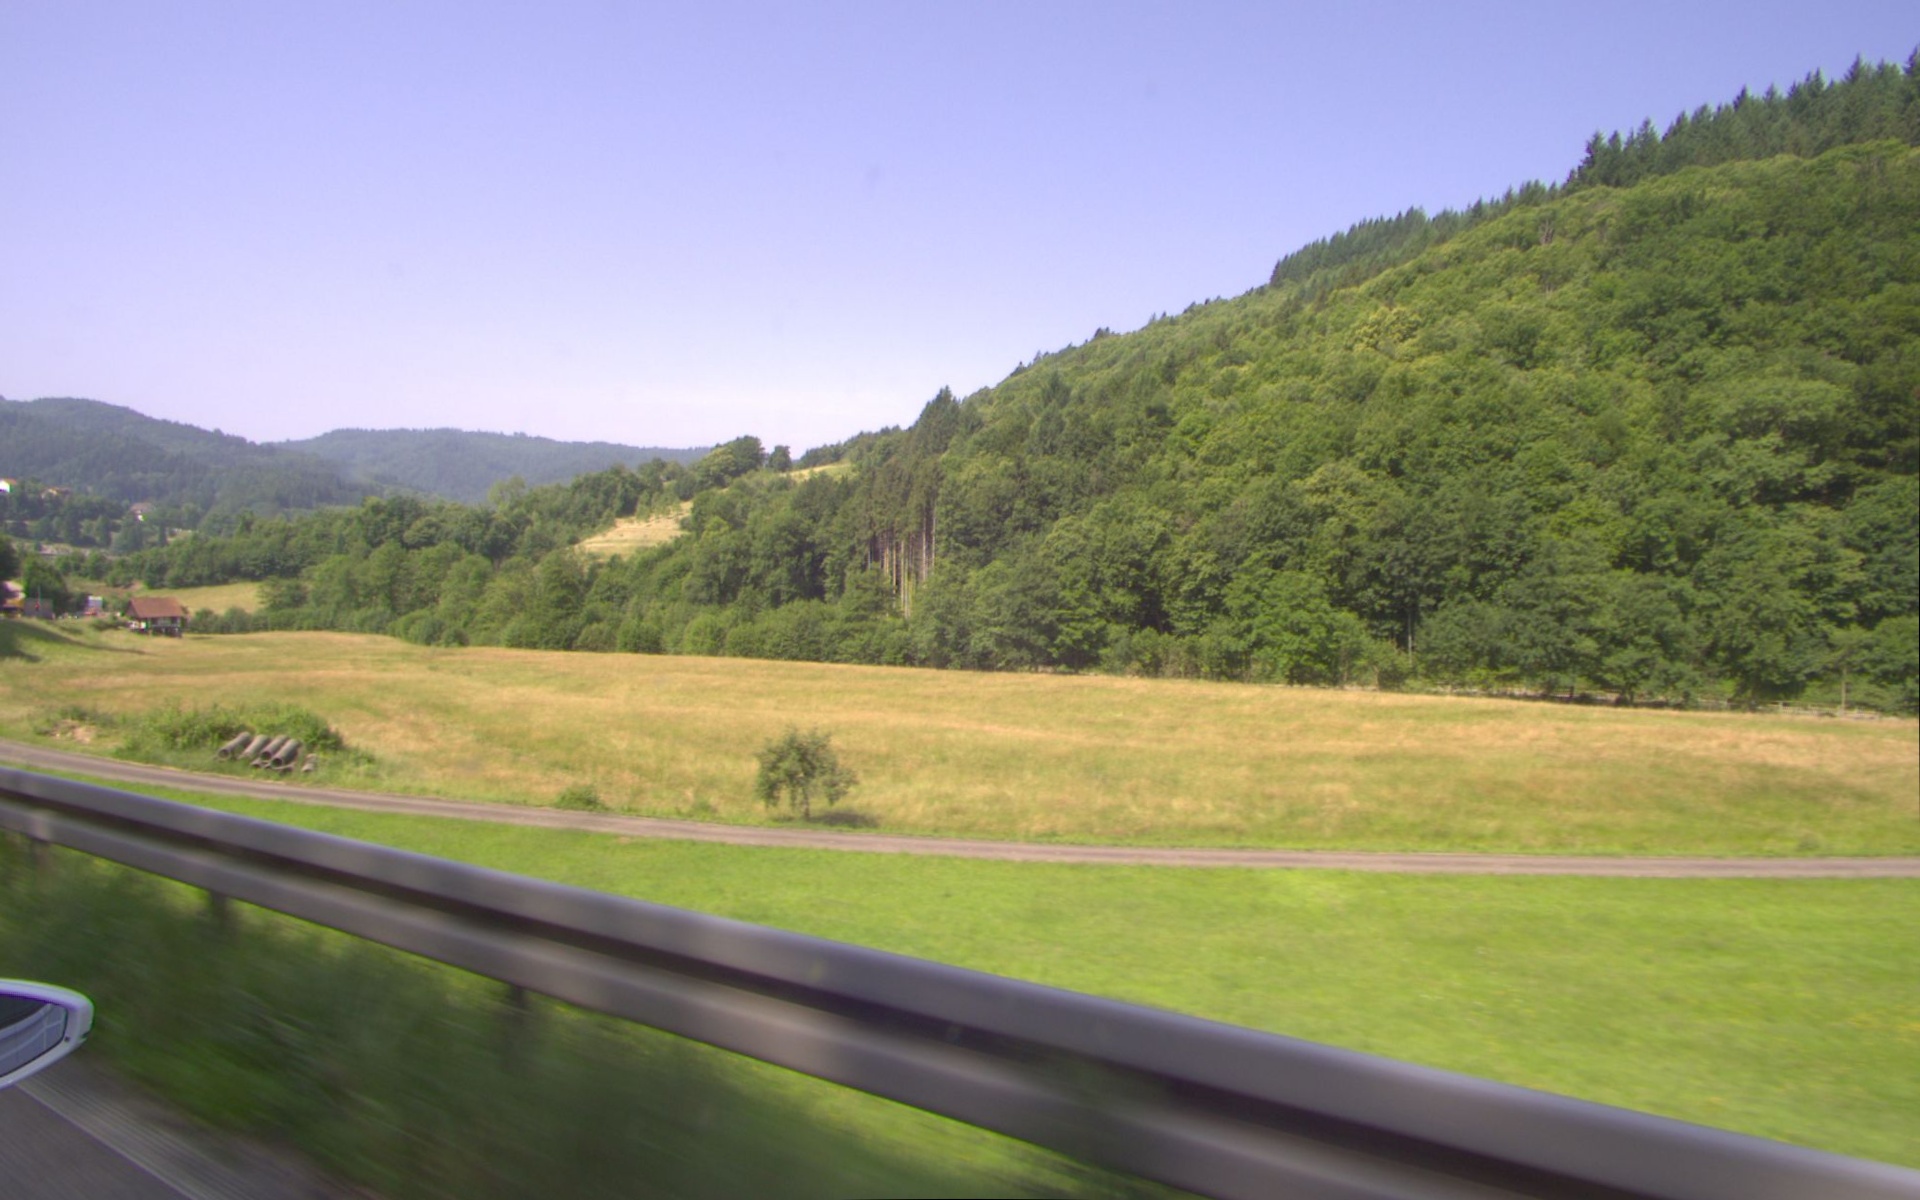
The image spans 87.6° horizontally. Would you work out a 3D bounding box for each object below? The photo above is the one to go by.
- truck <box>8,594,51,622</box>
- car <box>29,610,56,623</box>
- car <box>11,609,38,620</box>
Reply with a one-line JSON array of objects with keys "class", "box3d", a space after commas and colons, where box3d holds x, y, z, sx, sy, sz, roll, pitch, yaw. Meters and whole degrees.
[{"class": "truck", "box3d": [-157.904, 1.434, 170.009, 3.150, 4.451, 6.547, 4, -3, -25]}, {"class": "car", "box3d": [-148.840, 2.624, 162.475, 1.970, 1.949, 3.986, 4, -3, -25]}, {"class": "car", "box3d": [-144.413, 2.233, 154.608, 1.885, 1.503, 3.986, 6, -4, -25]}]
